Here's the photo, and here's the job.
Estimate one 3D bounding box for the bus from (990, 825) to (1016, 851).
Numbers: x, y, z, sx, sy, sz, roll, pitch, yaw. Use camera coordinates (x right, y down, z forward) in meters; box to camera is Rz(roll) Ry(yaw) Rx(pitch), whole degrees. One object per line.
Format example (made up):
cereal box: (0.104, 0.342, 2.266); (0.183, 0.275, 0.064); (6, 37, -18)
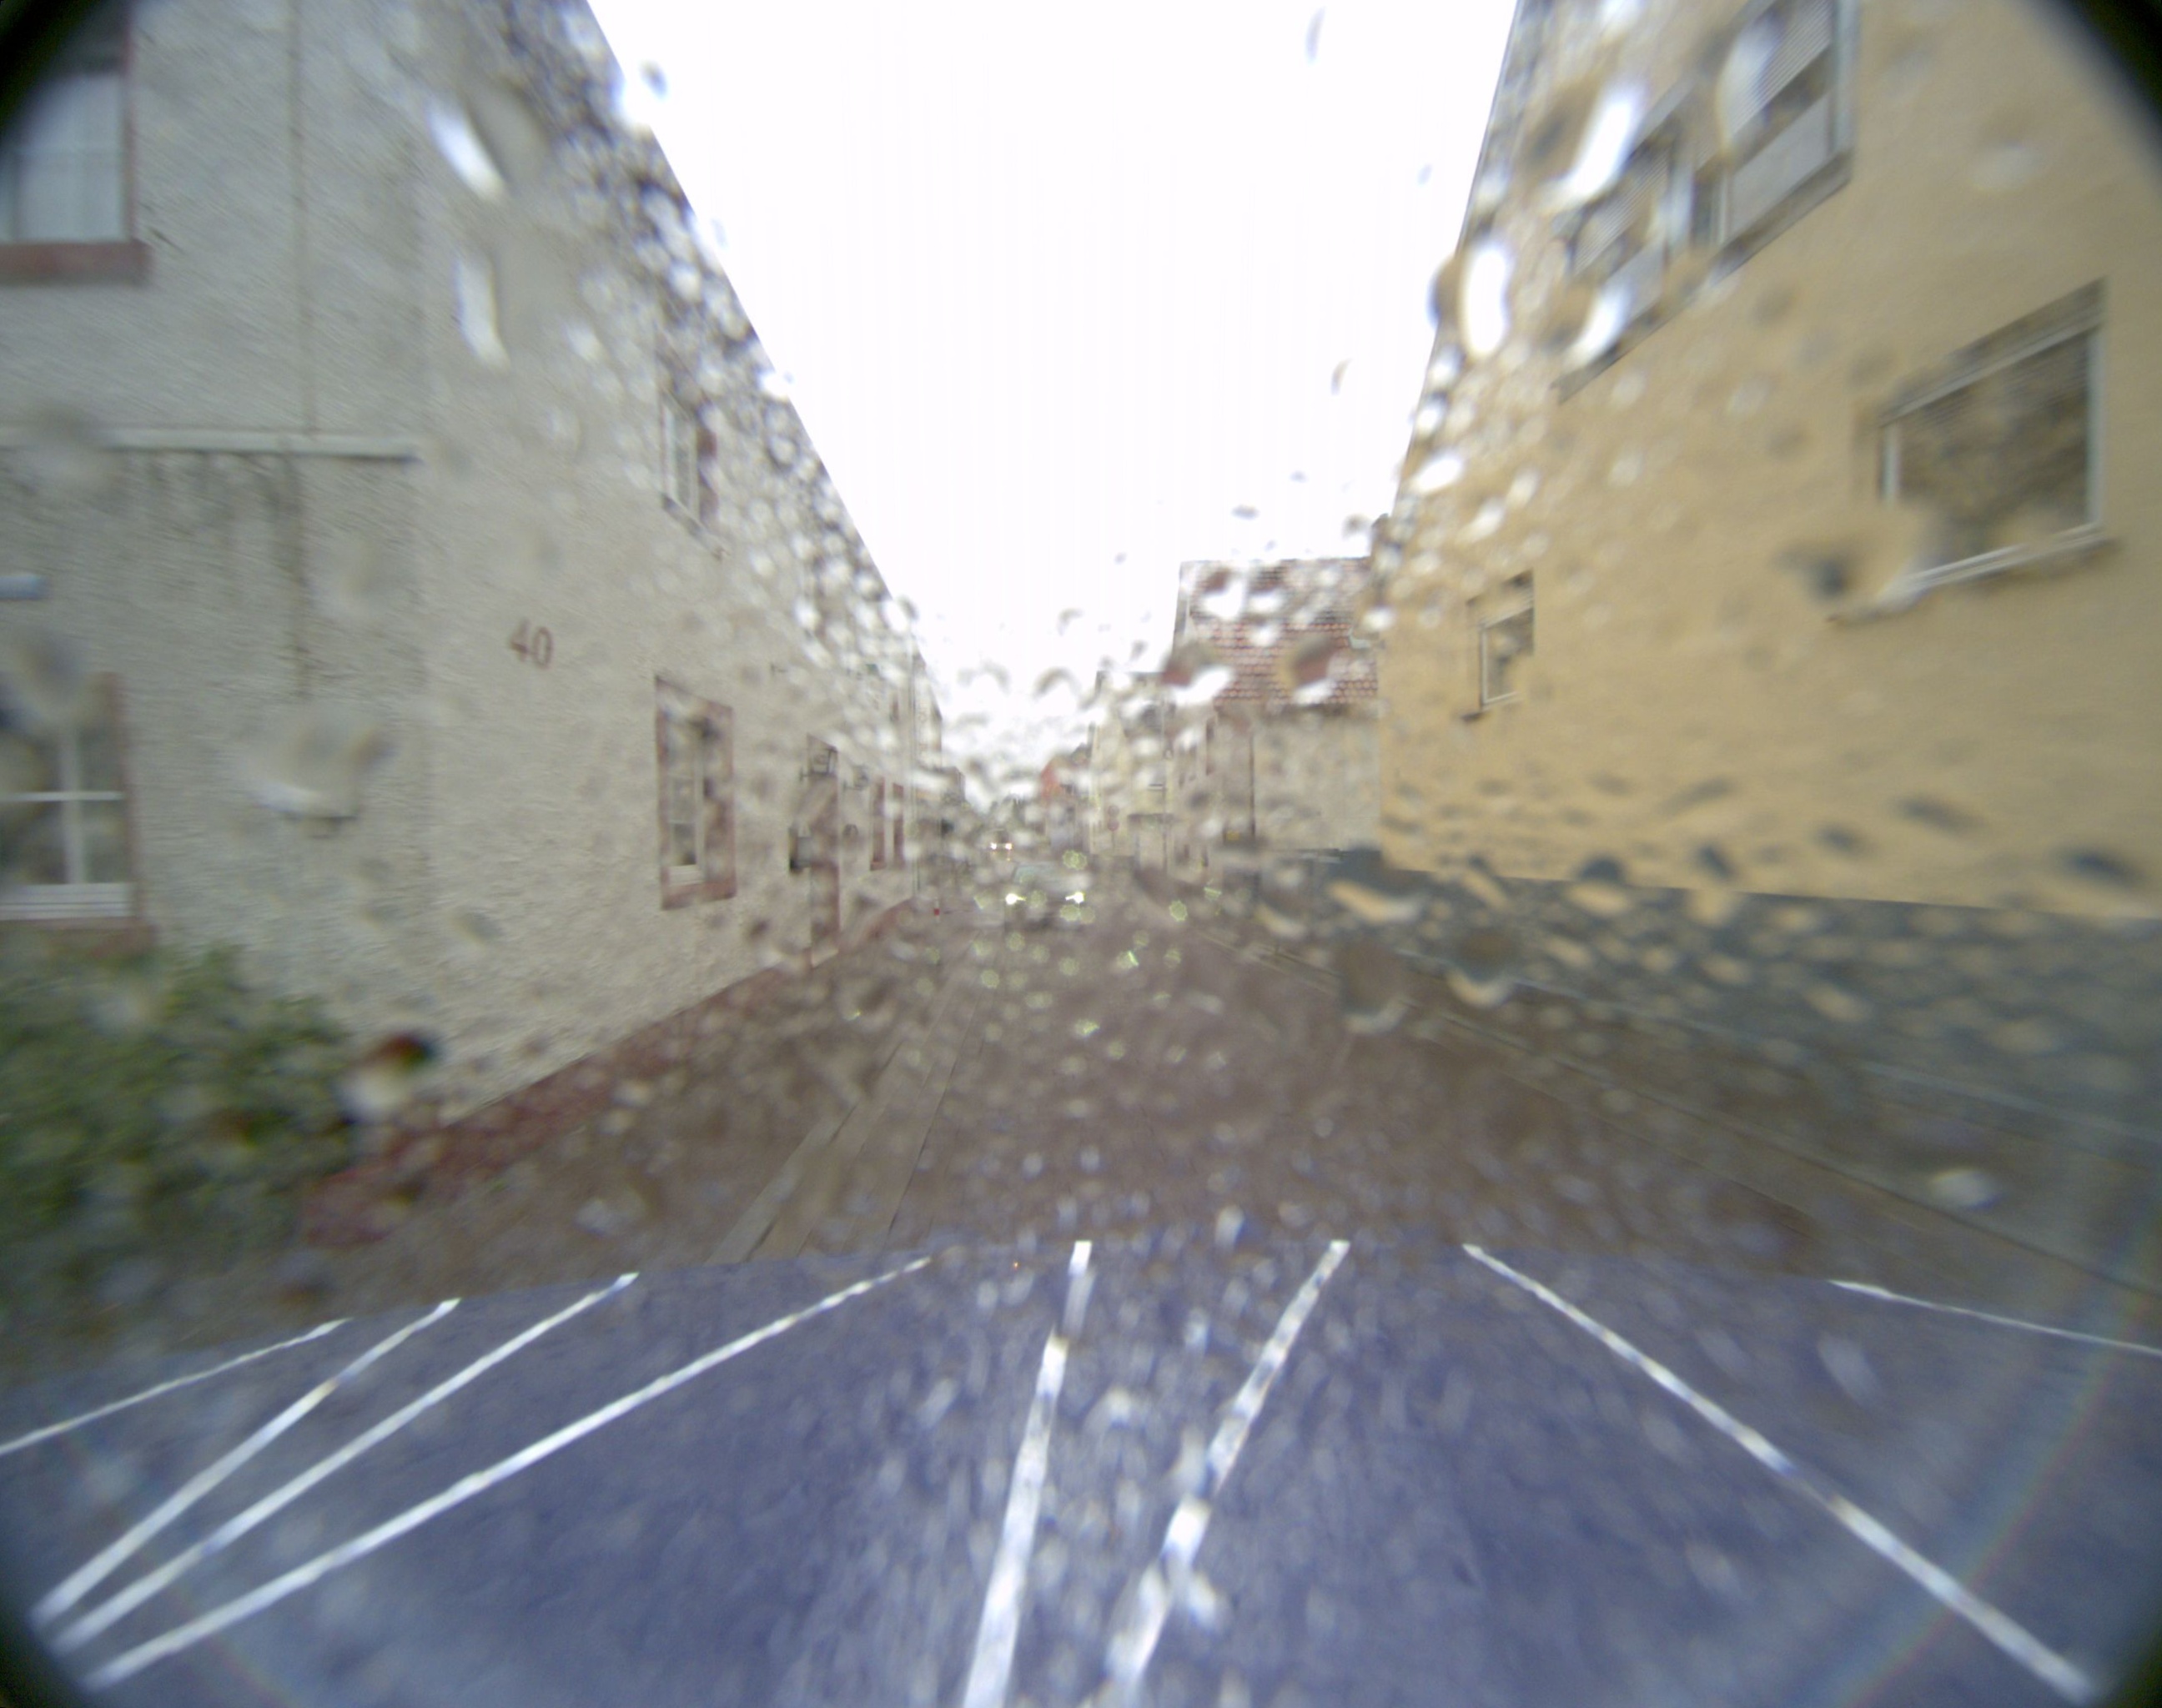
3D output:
bus: (-11.611, -2.382, 111.847); (2.895, 3.590, 11.965); (-2, 2, -10)

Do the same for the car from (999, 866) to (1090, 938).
car: (-0.827, 1.026, 17.591); (1.801, 1.341, 3.737); (-3, 0, -2)
